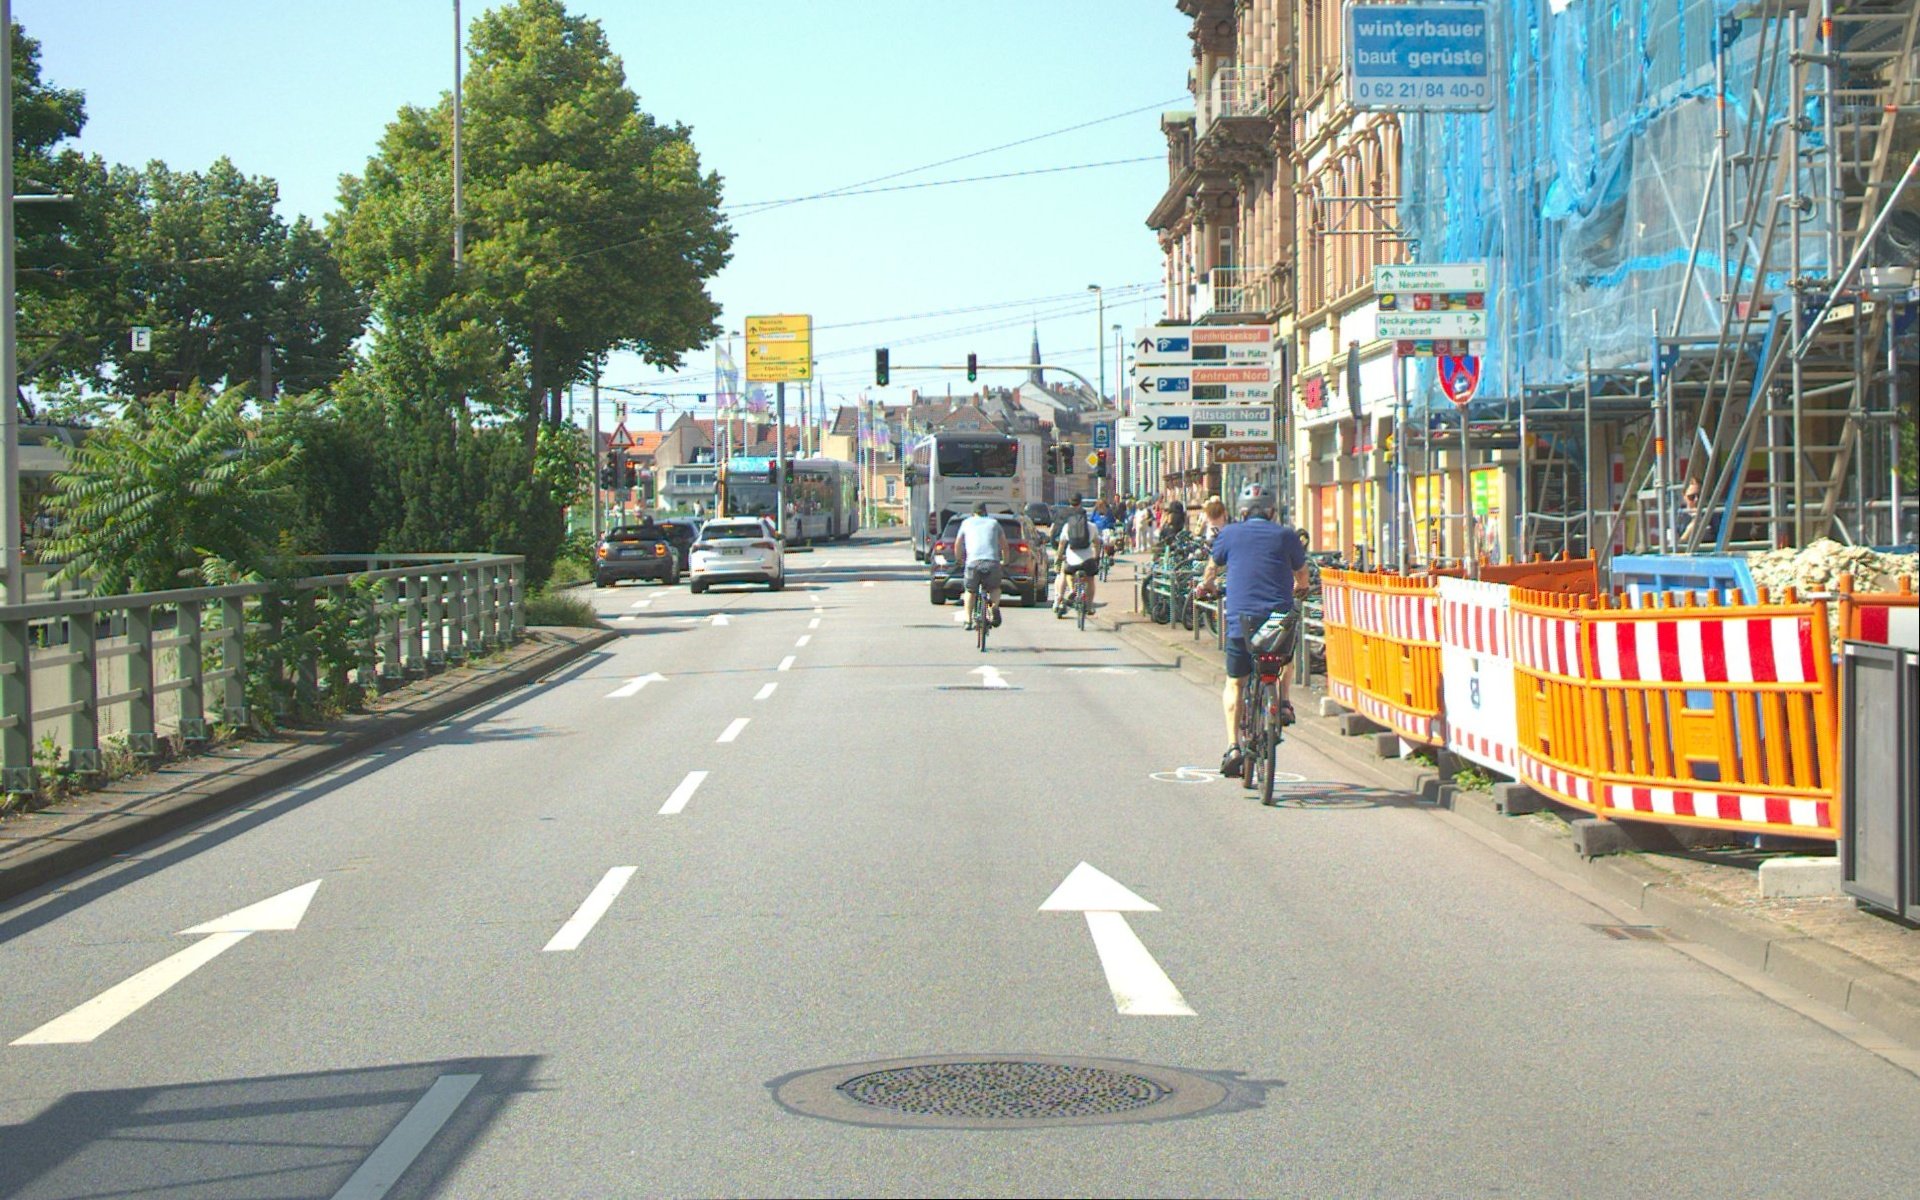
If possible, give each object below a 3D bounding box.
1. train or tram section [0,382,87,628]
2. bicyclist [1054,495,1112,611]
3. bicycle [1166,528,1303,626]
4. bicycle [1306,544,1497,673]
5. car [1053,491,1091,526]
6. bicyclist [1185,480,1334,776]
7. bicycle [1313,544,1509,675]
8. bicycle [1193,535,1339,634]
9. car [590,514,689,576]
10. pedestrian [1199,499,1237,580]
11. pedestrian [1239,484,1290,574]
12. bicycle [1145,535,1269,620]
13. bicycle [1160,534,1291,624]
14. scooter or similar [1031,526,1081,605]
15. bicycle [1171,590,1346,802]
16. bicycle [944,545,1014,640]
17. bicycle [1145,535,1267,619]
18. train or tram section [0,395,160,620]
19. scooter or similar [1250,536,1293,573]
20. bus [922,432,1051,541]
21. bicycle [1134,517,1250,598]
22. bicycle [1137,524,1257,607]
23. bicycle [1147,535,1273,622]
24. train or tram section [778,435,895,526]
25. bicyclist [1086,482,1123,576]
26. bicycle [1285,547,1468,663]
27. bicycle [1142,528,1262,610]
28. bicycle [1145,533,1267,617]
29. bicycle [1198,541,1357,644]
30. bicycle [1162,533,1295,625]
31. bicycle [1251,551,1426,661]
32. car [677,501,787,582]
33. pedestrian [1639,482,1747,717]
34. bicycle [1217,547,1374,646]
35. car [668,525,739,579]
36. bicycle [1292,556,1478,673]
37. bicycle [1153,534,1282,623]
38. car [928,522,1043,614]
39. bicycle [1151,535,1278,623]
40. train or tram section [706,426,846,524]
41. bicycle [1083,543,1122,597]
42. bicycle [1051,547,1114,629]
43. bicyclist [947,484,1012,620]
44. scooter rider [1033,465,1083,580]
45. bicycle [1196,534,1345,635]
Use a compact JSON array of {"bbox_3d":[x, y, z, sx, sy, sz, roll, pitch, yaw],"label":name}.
[{"bbox_3d":[-15.260,-1.438,51.900,2.613,3.569,6.104,1,1,-1],"label":"train or tram section"},{"bbox_3d":[1.690,-0.653,47.407,0.688,1.571,1.049,1,1,-2],"label":"bicyclist"},{"bbox_3d":[3.534,-0.301,44.342,1.693,1.236,0.608,1,1,0],"label":"bicycle"},{"bbox_3d":[4.112,0.070,32.096,1.693,1.174,0.608,1,1,0],"label":"bicycle"},{"bbox_3d":[6.081,-4.973,187.501,1.993,1.871,4.000,-1,1,1],"label":"car"},{"bbox_3d":[1.676,0.148,19.345,0.688,1.610,0.918,1,1,-2],"label":"bicyclist"},{"bbox_3d":[4.110,0.081,31.412,1.693,1.174,0.608,1,1,0],"label":"bicycle"},{"bbox_3d":[3.681,-0.190,41.432,1.693,1.174,0.608,1,1,0],"label":"bicycle"},{"bbox_3d":[-7.261,-1.256,78.221,1.815,1.327,4.000,1,1,0],"label":"car"},{"bbox_3d":[5.246,-1.239,69.995,0.654,1.615,0.815,-1,2,-2],"label":"pedestrian"},{"bbox_3d":[5.787,-1.343,65.379,0.755,1.650,0.837,-4,0,-1],"label":"pedestrian"},{"bbox_3d":[3.469,-0.321,48.253,1.693,1.174,0.459,1,1,0],"label":"bicycle"},{"bbox_3d":[3.513,-0.282,45.549,1.693,1.174,0.491,1,1,0],"label":"bicycle"},{"bbox_3d":[1.457,-0.531,52.457,0.688,1.163,1.464,1,1,0],"label":"scooter or similar"},{"bbox_3d":[1.663,0.513,19.427,0.734,1.089,1.911,1,1,-2],"label":"bicycle"},{"bbox_3d":[0.215,-0.101,41.001,0.734,1.089,1.898,1,1,-2],"label":"bicycle"},{"bbox_3d":[3.489,-0.331,48.820,1.693,1.174,0.460,1,1,0],"label":"bicycle"},{"bbox_3d":[-15.344,-1.540,57.649,2.613,3.569,5.357,1,1,-1],"label":"train or tram section"},{"bbox_3d":[5.871,-0.857,64.827,0.691,0.648,0.565,-4,1,-1],"label":"scooter or similar"},{"bbox_3d":[0.803,-3.038,94.131,2.969,2.767,8.640,1,1,4],"label":"bus"},{"bbox_3d":[3.500,-0.644,51.853,1.693,1.174,0.608,-1,2,0],"label":"bicycle"},{"bbox_3d":[3.484,-0.515,50.570,1.693,1.174,0.608,-1,2,0],"label":"bicycle"},{"bbox_3d":[3.459,-0.298,47.672,1.693,1.174,0.514,1,1,0],"label":"bicycle"},{"bbox_3d":[-5.134,-4.984,144.832,2.824,3.569,8.221,2,1,13],"label":"train or tram section"},{"bbox_3d":[3.017,-1.483,72.030,0.688,1.955,0.778,1,1,0],"label":"bicyclist"},{"bbox_3d":[4.057,0.044,33.568,1.693,1.093,0.608,1,1,0],"label":"bicycle"},{"bbox_3d":[3.508,-0.456,49.973,1.693,1.174,0.470,1,1,0],"label":"bicycle"},{"bbox_3d":[3.530,-0.360,49.375,1.693,1.174,0.470,1,1,0],"label":"bicycle"},{"bbox_3d":[3.681,-0.093,39.938,1.771,1.174,0.608,1,1,0],"label":"bicycle"},{"bbox_3d":[3.513,-0.277,44.994,1.693,1.174,0.497,1,1,0],"label":"bicycle"},{"bbox_3d":[3.924,0.059,35.708,1.739,1.105,0.608,1,1,0],"label":"bicycle"},{"bbox_3d":[-4.473,-1.155,68.023,1.858,1.502,4.000,1,1,0],"label":"car"},{"bbox_3d":[5.647,-0.010,26.520,0.639,1.770,0.649,1,1,-1],"label":"pedestrian"},{"bbox_3d":[3.752,-0.047,38.520,1.693,1.083,0.608,1,1,0],"label":"bicycle"},{"bbox_3d":[-6.520,-1.234,87.752,1.451,1.296,4.000,1,1,0],"label":"car"},{"bbox_3d":[4.056,0.132,32.889,1.693,1.094,0.608,1,1,0],"label":"bicycle"},{"bbox_3d":[3.486,-0.291,46.614,1.693,1.174,0.463,1,1,0],"label":"bicycle"},{"bbox_3d":[0.434,-0.565,58.932,1.873,1.487,4.000,1,1,0],"label":"car"},{"bbox_3d":[3.489,-0.292,47.126,1.693,1.174,0.457,1,1,0],"label":"bicycle"},{"bbox_3d":[-7.188,-4.883,136.050,2.824,3.569,10.027,2,1,13],"label":"train or tram section"},{"bbox_3d":[2.979,-0.640,72.055,0.734,1.089,1.898,1,1,1],"label":"bicycle"},{"bbox_3d":[1.677,-0.174,47.422,0.734,1.089,1.898,1,1,-1],"label":"bicycle"},{"bbox_3d":[0.230,-0.574,40.872,0.688,1.571,1.049,1,1,-2],"label":"bicyclist"},{"bbox_3d":[1.490,-1.181,52.484,0.688,1.723,0.778,1,1,0],"label":"scooter rider"},{"bbox_3d":[3.675,-0.186,40.760,1.693,1.174,0.608,1,1,0],"label":"bicycle"}]
